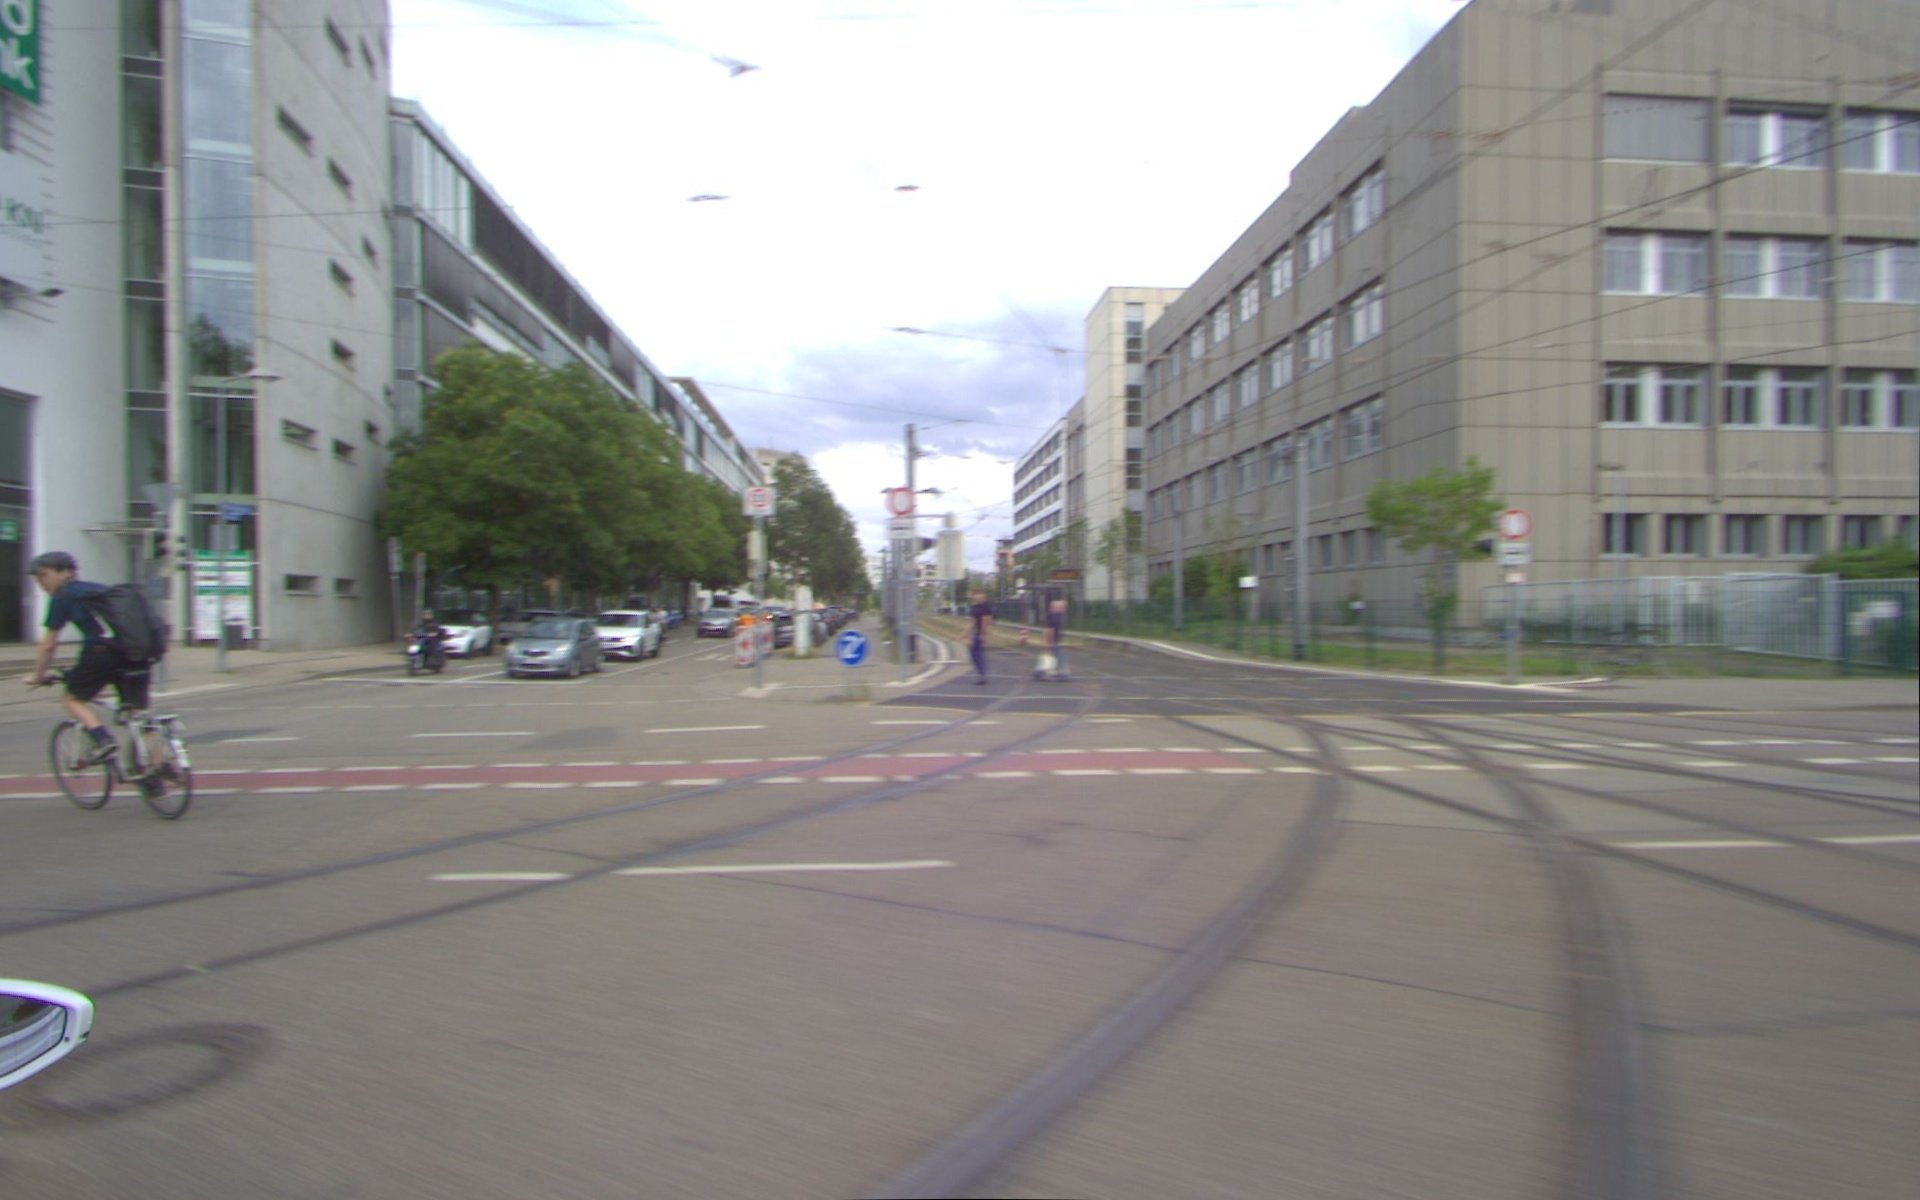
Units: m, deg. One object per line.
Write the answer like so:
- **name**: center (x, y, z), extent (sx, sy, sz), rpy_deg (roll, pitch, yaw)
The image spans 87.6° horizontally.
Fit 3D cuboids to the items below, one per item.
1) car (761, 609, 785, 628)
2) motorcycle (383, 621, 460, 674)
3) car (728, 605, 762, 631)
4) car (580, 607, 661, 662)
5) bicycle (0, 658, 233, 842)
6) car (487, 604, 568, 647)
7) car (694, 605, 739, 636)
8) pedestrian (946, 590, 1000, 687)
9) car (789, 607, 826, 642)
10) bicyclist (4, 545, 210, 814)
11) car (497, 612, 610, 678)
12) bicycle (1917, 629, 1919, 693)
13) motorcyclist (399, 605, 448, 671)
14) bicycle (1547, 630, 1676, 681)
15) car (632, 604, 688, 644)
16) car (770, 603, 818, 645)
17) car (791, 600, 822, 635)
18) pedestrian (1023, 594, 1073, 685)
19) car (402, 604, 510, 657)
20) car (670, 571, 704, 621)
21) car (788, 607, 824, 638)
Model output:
- **car**: center (-17.339, 1.685, 93.073), extent (1.762, 1.606, 4.140), rpy_deg (2, 0, -6)
- **motorcycle**: center (-13.632, 1.173, 25.424), extent (0.812, 1.215, 2.501), rpy_deg (1, 0, -6)
- **car**: center (-14.482, 1.184, 67.617), extent (1.762, 1.606, 4.140), rpy_deg (2, 0, -6)
- **car**: center (-11.388, 1.104, 33.862), extent (1.687, 1.682, 4.131), rpy_deg (2, 0, -6)
- **bicycle**: center (-6.346, 1.030, 7.406), extent (2.099, 1.101, 0.799), rpy_deg (0, 0, 30)
- **car**: center (-17.458, 1.004, 40.598), extent (1.800, 1.577, 4.215), rpy_deg (2, 0, -6)
- **car**: center (-13.607, 1.126, 56.106), extent (1.873, 1.606, 4.180), rpy_deg (2, 0, -6)
- **pedestrian**: center (0.250, 0.769, 20.278), extent (1.068, 1.923, 0.901), rpy_deg (0, 1, -1)
- **car**: center (-7.422, 1.141, 48.464), extent (1.678, 1.627, 4.075), rpy_deg (0, 0, -10)
- **bicyclist**: center (-6.272, 0.536, 7.371), extent (1.214, 1.809, 0.795), rpy_deg (0, 1, 30)
- **car**: center (-10.659, 1.133, 26.565), extent (1.641, 1.526, 4.233), rpy_deg (2, 0, -6)
- **bicycle**: center (17.515, 1.068, 16.718), extent (2.142, 1.101, 0.802), rpy_deg (1, 1, 8)
- **motorcyclist**: center (-13.620, 0.952, 25.435), extent (0.806, 1.638, 0.882), rpy_deg (1, 0, -6)
- **bicycle**: center (13.236, 1.130, 20.382), extent (2.133, 0.993, 0.629), rpy_deg (-3, -2, 39)
- **car**: center (-13.704, 1.063, 45.945), extent (1.687, 1.682, 4.131), rpy_deg (2, 0, -6)
- **car**: center (-6.905, 0.962, 41.533), extent (1.850, 1.650, 4.083), rpy_deg (0, 0, -10)
- **car**: center (-9.237, 1.002, 60.108), extent (1.757, 2.014, 4.117), rpy_deg (0, 0, -10)
- **pedestrian**: center (1.877, 0.813, 21.218), extent (0.973, 1.880, 0.901), rpy_deg (0, 1, 10)
- **car**: center (-16.672, 0.969, 33.337), extent (1.800, 1.577, 4.215), rpy_deg (2, 0, -6)
- **car**: center (-21.132, -0.300, 77.691), extent (1.955, 3.684, 4.509), rpy_deg (2, 0, -9)
- **car**: center (-8.489, 1.208, 54.989), extent (1.839, 1.627, 4.209), rpy_deg (0, 0, -10)
